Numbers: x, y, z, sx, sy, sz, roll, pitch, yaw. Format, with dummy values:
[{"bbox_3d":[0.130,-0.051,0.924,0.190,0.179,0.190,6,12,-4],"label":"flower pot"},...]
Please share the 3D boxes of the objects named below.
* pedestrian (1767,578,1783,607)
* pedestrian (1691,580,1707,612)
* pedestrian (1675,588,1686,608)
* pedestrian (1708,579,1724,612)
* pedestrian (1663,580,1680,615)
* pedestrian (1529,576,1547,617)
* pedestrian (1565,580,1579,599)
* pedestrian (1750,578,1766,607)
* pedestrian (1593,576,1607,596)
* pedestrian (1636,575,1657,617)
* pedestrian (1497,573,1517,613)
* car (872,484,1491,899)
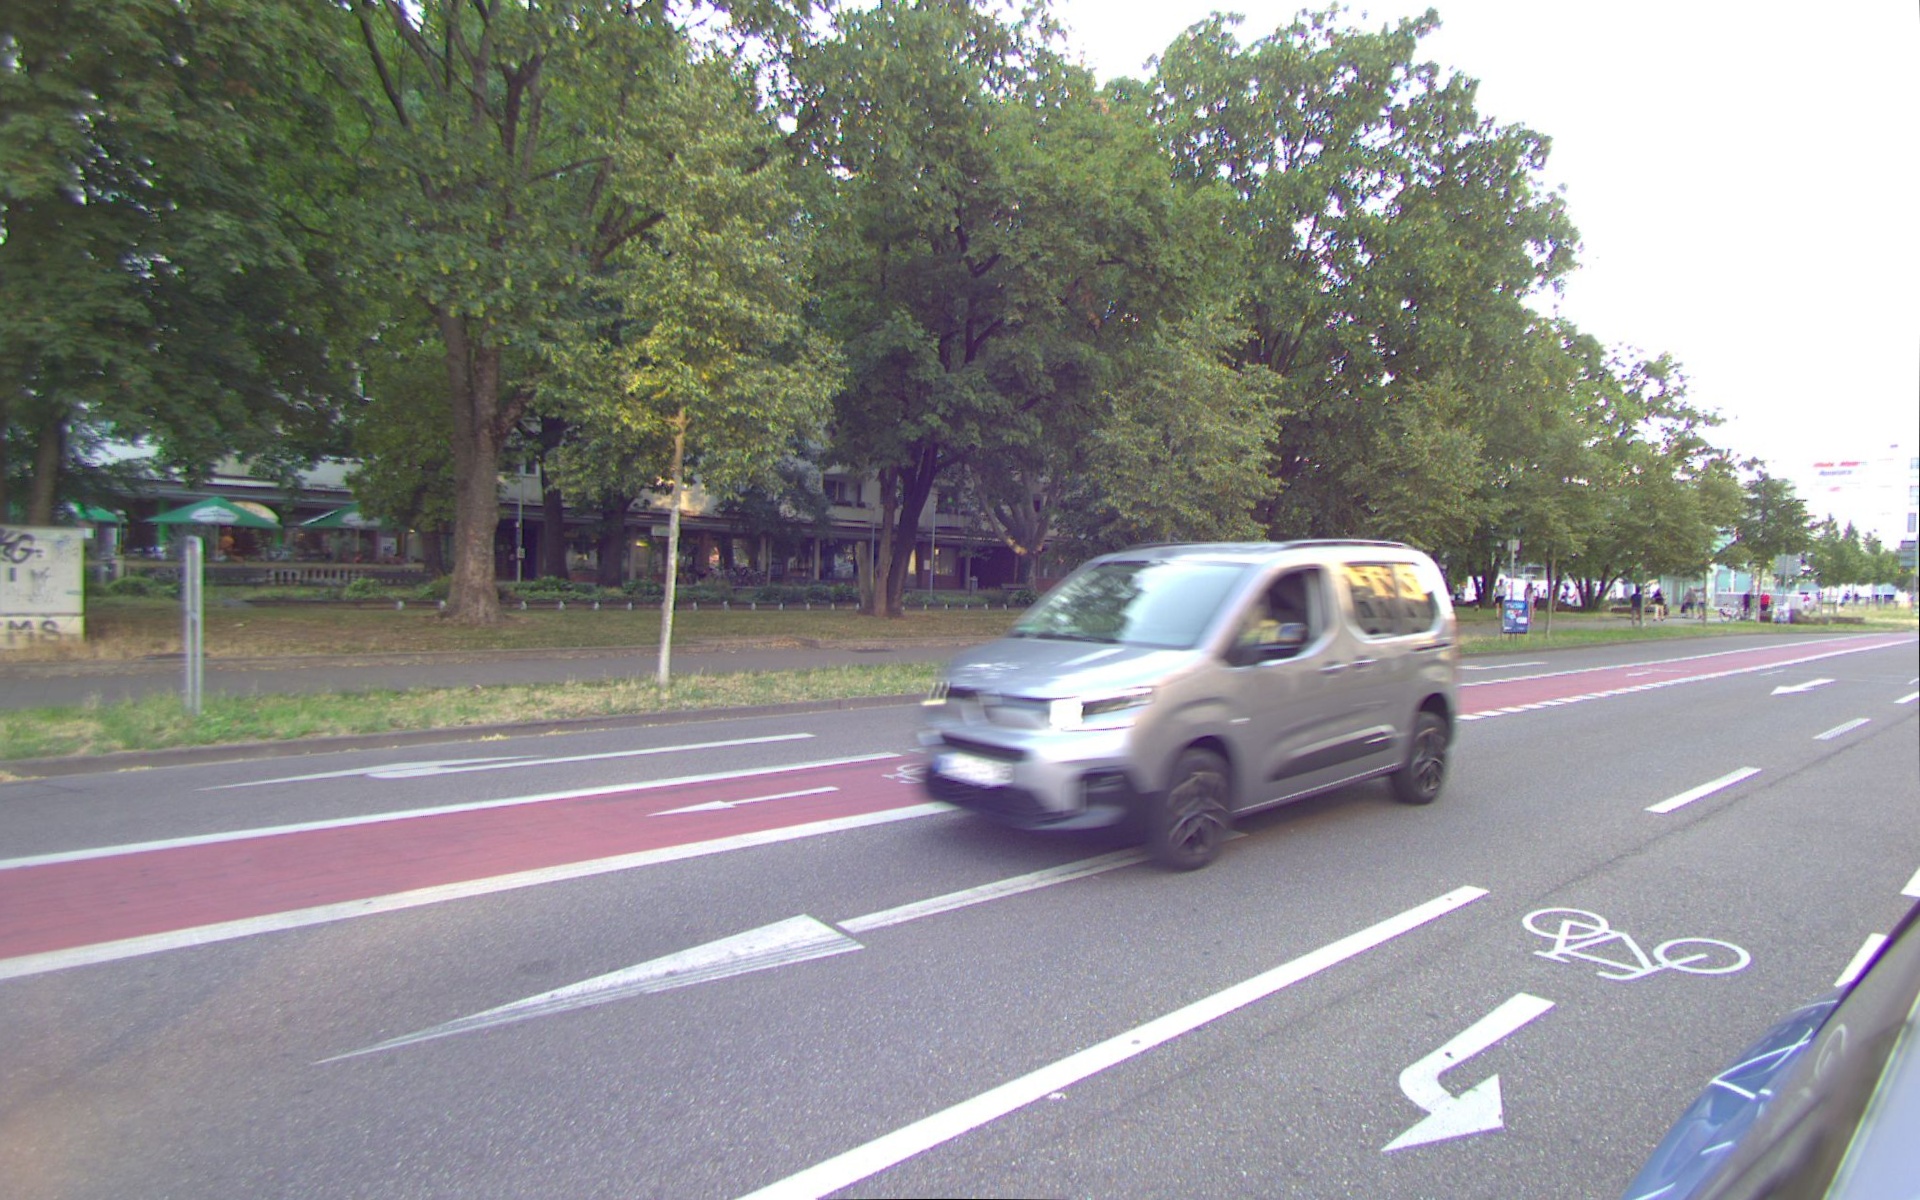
[{"bbox_3d":[50.360,-0.444,62.534,0.497,1.779,0.638,0,2,-40],"label":"pedestrian"},{"bbox_3d":[40.529,-0.212,55.505,0.707,1.751,0.519,0,2,-40],"label":"pedestrian"},{"bbox_3d":[50.196,-0.115,70.518,0.427,1.371,0.508,0,2,-40],"label":"pedestrian"},{"bbox_3d":[40.918,-0.243,54.778,0.707,1.751,0.508,0,2,-40],"label":"pedestrian"},{"bbox_3d":[36.000,-0.125,51.187,0.707,1.751,0.508,0,2,-40],"label":"pedestrian"},{"bbox_3d":[23.396,-0.134,40.964,0.359,1.621,0.500,1,2,-40],"label":"pedestrian"},{"bbox_3d":[43.585,-0.761,72.112,0.669,1.371,0.631,0,2,-41],"label":"pedestrian"},{"bbox_3d":[49.896,-0.468,63.268,0.497,1.779,0.638,0,2,-40],"label":"pedestrian"},{"bbox_3d":[45.302,-0.992,71.635,0.550,1.371,0.662,0,2,-40],"label":"pedestrian"},{"bbox_3d":[29.375,-0.162,43.305,0.546,1.760,0.558,0,2,-41],"label":"pedestrian"},{"bbox_3d":[22.247,-0.285,41.152,0.513,1.621,0.500,0,2,-41],"label":"pedestrian"},{"bbox_3d":[1.721,0.407,6.786,4.421,1.912,1.766,0,1,-41],"label":"car"}]
